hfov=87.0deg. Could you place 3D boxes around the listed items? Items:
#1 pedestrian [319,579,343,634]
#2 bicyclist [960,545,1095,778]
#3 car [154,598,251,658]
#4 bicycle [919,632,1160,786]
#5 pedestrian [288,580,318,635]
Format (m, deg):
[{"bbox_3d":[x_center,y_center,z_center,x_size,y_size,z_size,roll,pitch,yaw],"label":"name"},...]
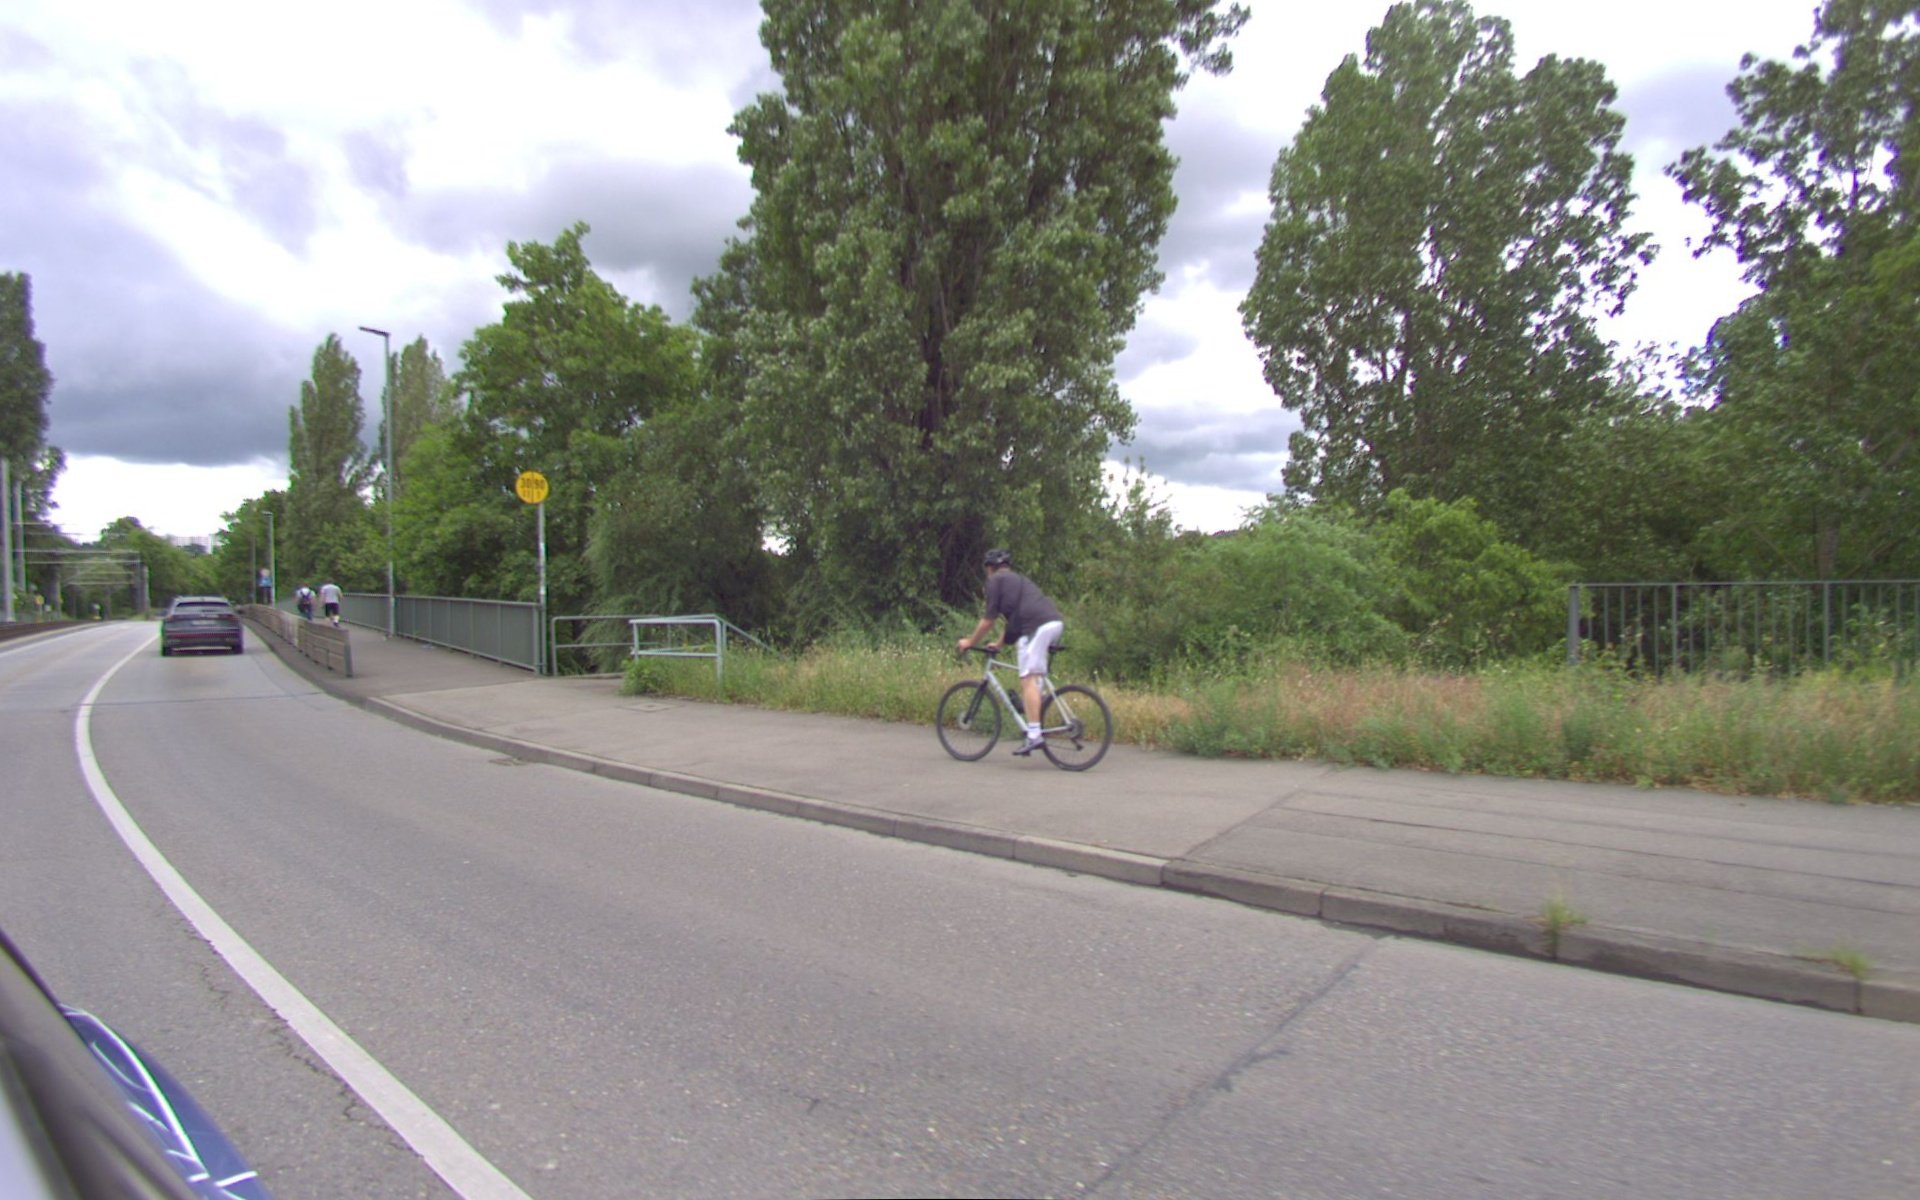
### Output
[{"bbox_3d":[-21.499,0.221,34.586,0.597,1.841,0.557,-2,2,-35],"label":"pedestrian"},{"bbox_3d":[0.565,0.469,8.406,0.899,1.822,0.621,0,2,36],"label":"bicyclist"},{"bbox_3d":[-20.159,0.711,27.076,1.692,1.479,3.953,1,-1,-31],"label":"car"},{"bbox_3d":[0.630,0.841,8.395,1.878,1.080,0.729,-1,2,37],"label":"bicycle"},{"bbox_3d":[-22.354,0.244,34.423,0.769,1.841,0.728,-2,2,-35],"label":"pedestrian"}]
